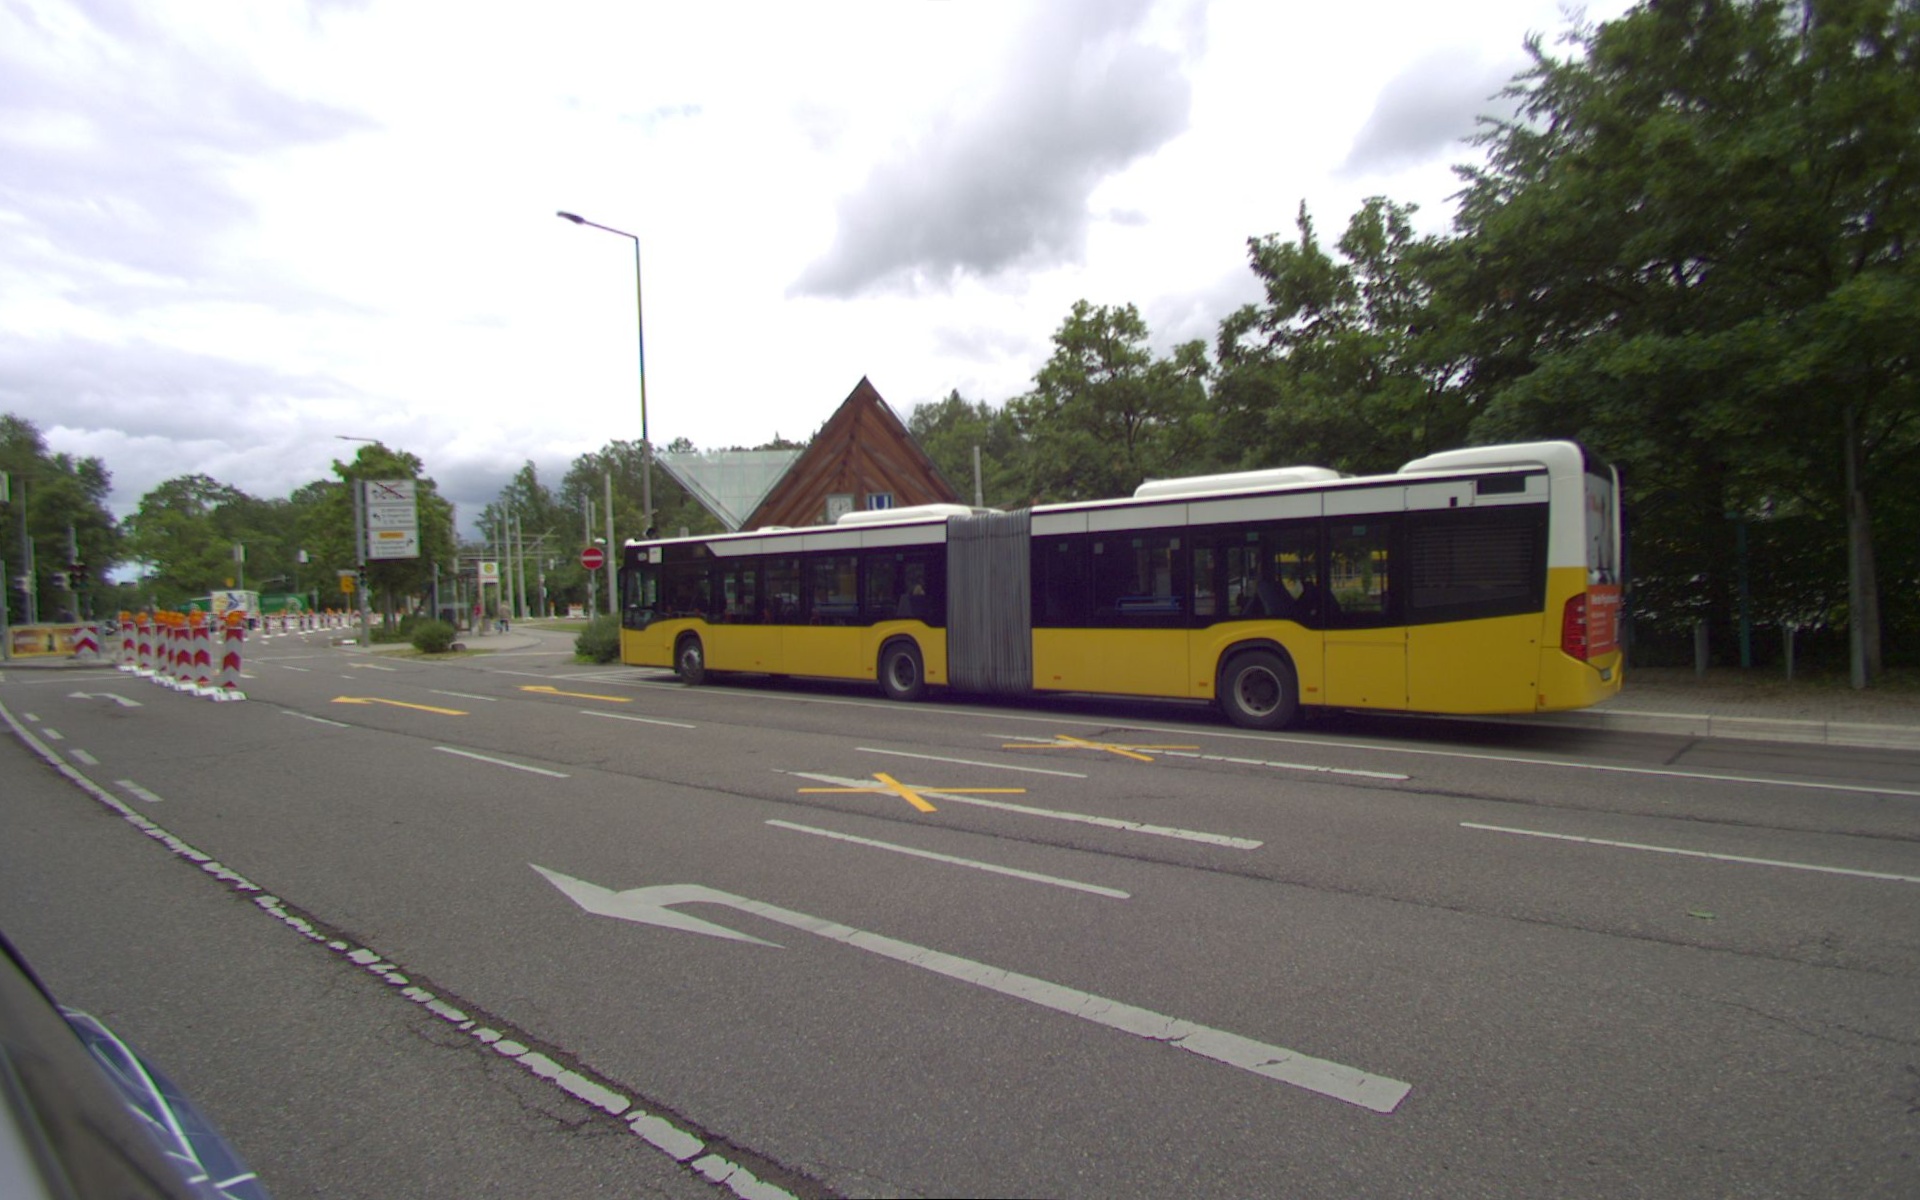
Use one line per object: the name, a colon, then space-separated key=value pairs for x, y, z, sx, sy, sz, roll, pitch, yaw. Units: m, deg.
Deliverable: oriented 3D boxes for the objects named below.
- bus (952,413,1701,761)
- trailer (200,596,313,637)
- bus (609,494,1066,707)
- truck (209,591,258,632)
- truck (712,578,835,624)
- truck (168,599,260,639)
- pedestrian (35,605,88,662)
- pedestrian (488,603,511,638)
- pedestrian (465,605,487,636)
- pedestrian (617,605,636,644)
bus: x=4.087 y=-0.063 z=13.140 sx=8.690 sy=3.150 sz=2.868 roll=-1 pitch=-1 yaw=41
trailer: x=-77.891 y=1.812 z=111.998 sx=11.767 sy=3.910 sz=3.768 roll=-3 pitch=1 yaw=17
bus: x=-2.813 y=0.076 z=19.266 sx=9.755 sy=3.150 sz=2.868 roll=-1 pitch=-1 yaw=41
truck: x=-59.233 y=0.946 z=82.638 sx=2.592 sy=3.263 sz=6.225 roll=0 pitch=-1 yaw=-29
truck: x=-10.324 y=0.074 z=55.942 sx=6.263 sy=2.186 sz=2.587 roll=-3 pitch=1 yaw=24
truck: x=-84.015 y=2.150 z=114.021 sx=8.697 sy=3.910 sz=3.768 roll=-3 pitch=1 yaw=17
pedestrian: x=-29.749 y=1.098 z=33.514 sx=0.757 sy=1.822 sz=0.992 roll=-3 pitch=1 yaw=8
pedestrian: x=-21.285 y=0.955 z=46.790 sx=0.861 sy=1.536 sz=0.770 roll=-3 pitch=1 yaw=-28
pedestrian: x=-24.798 y=1.051 z=51.857 sx=0.779 sy=1.563 sz=0.777 roll=-3 pitch=1 yaw=-38
pedestrian: x=-13.244 y=0.954 z=40.202 sx=0.628 sy=1.516 sz=0.633 roll=-3 pitch=1 yaw=-21
